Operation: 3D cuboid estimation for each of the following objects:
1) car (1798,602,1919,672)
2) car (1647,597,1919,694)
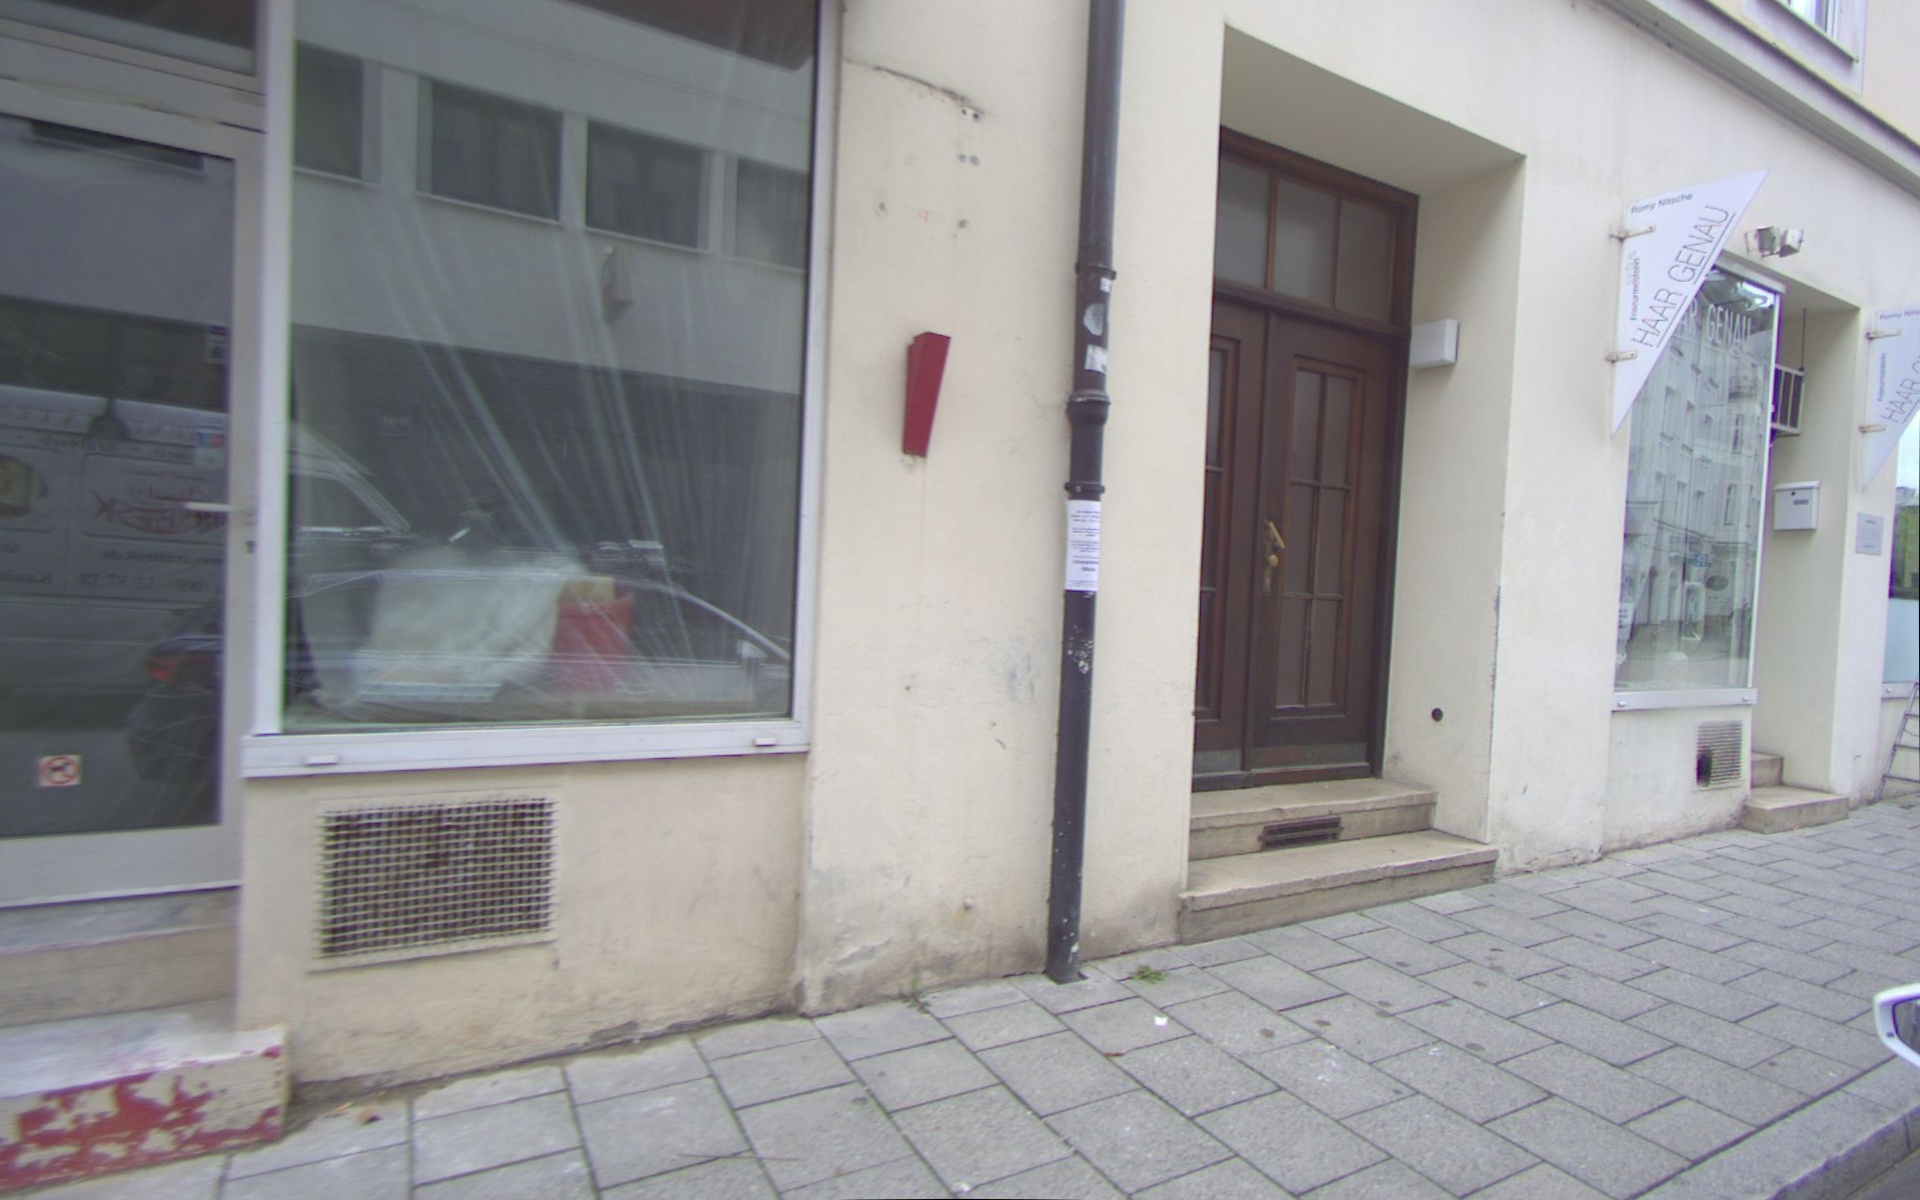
[{"bbox_3d":[22.426,0.915,23.500,1.662,1.468,3.976,2,2,-24],"label":"car"},{"bbox_3d":[17.253,0.837,21.072,1.878,1.537,4.317,-2,4,-27],"label":"car"}]
